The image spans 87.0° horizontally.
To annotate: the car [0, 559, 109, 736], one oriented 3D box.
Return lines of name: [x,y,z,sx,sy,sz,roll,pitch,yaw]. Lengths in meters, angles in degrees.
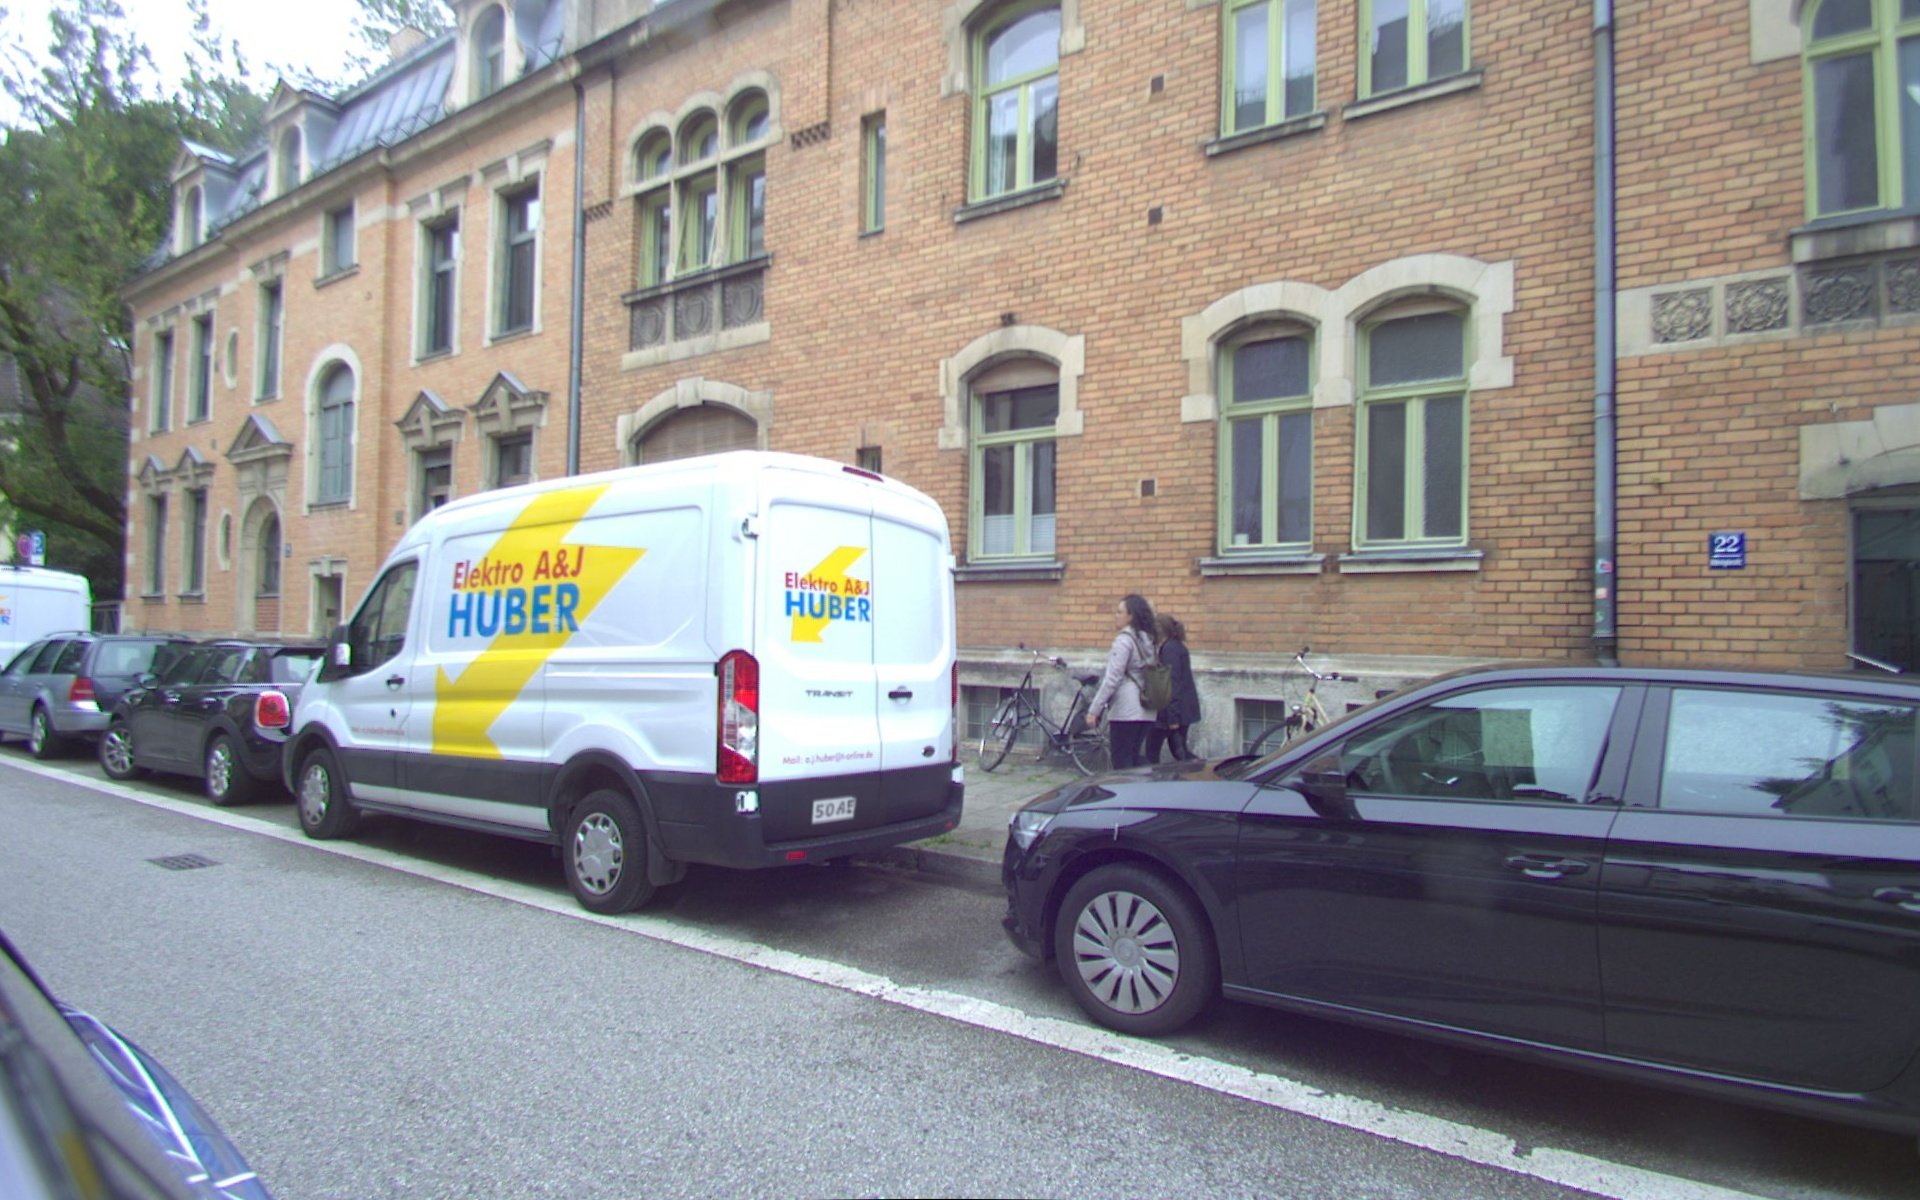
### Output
car: [-15.699,0.754,16.078,4.410,2.560,2.095,-2,-6,35]

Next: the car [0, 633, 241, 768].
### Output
car: [-10.947,1.181,12.783,3.973,1.454,1.676,-1,-5,34]

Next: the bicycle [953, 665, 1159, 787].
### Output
bicycle: [0.864,1.136,9.473,1.919,0.993,0.497,-2,-1,35]

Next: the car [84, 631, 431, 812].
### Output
car: [-6.851,1.064,9.794,3.531,1.454,1.510,-1,-5,34]

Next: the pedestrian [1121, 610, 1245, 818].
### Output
pedestrian: [1.756,0.844,7.948,0.726,1.524,0.689,0,0,37]

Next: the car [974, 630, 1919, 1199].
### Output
car: [2.238,0.871,3.687,4.134,1.454,1.676,-1,-4,34]

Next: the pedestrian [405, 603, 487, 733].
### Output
pedestrian: [-6.715,0.882,13.234,0.673,1.645,0.627,-1,-5,35]

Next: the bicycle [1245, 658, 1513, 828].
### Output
bicycle: [3.208,1.038,7.837,1.824,1.137,0.625,-1,-2,35]

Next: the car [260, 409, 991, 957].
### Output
car: [-2.514,0.454,6.931,5.211,2.497,1.964,-1,-4,35]

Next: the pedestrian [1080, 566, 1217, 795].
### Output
pedestrian: [1.354,0.538,7.251,0.726,1.524,0.689,0,0,37]
